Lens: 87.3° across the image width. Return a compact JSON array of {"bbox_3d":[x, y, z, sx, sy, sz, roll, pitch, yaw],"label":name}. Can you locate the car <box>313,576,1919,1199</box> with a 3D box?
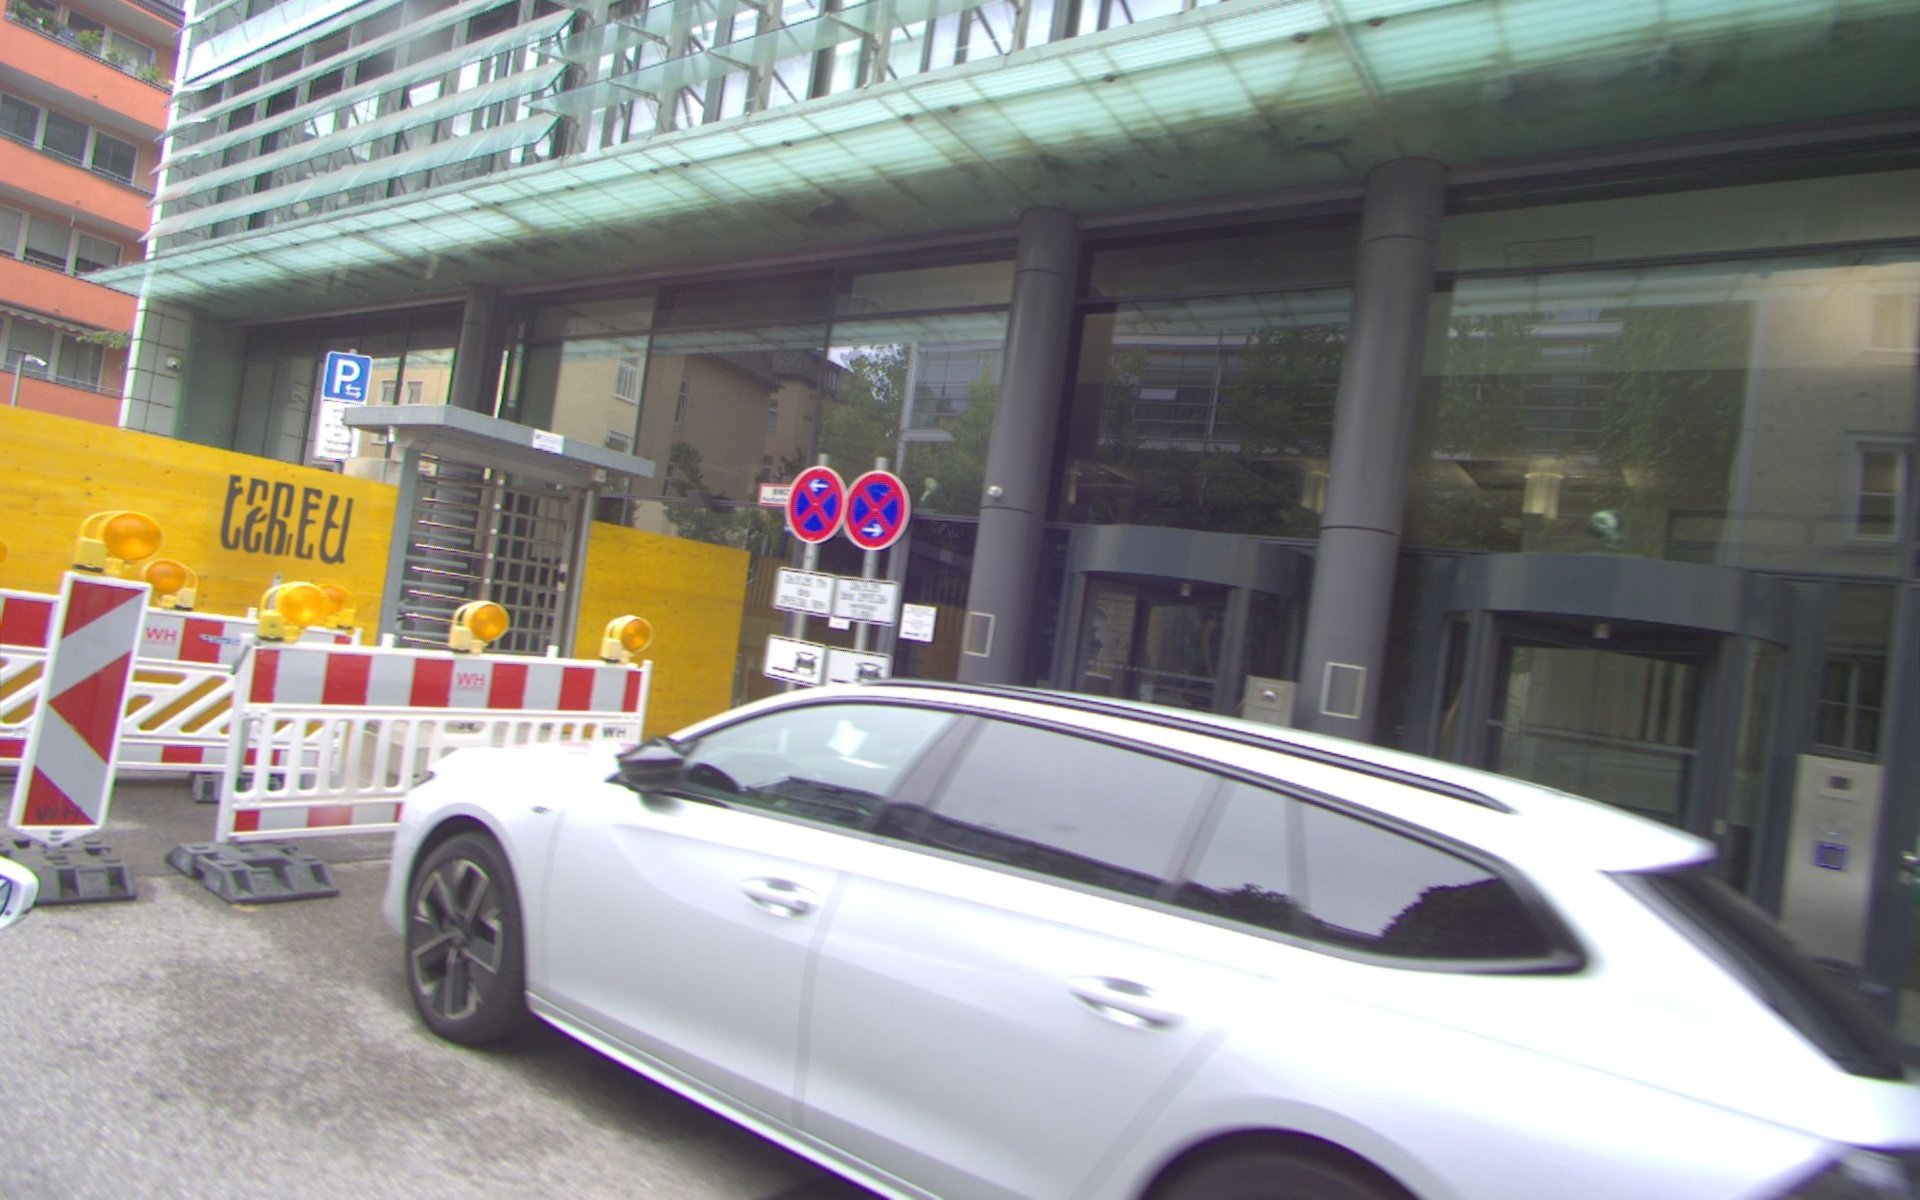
[{"bbox_3d":[0.026,0.956,3.217,4.436,1.428,1.713,7,-4,33],"label":"car"}]
